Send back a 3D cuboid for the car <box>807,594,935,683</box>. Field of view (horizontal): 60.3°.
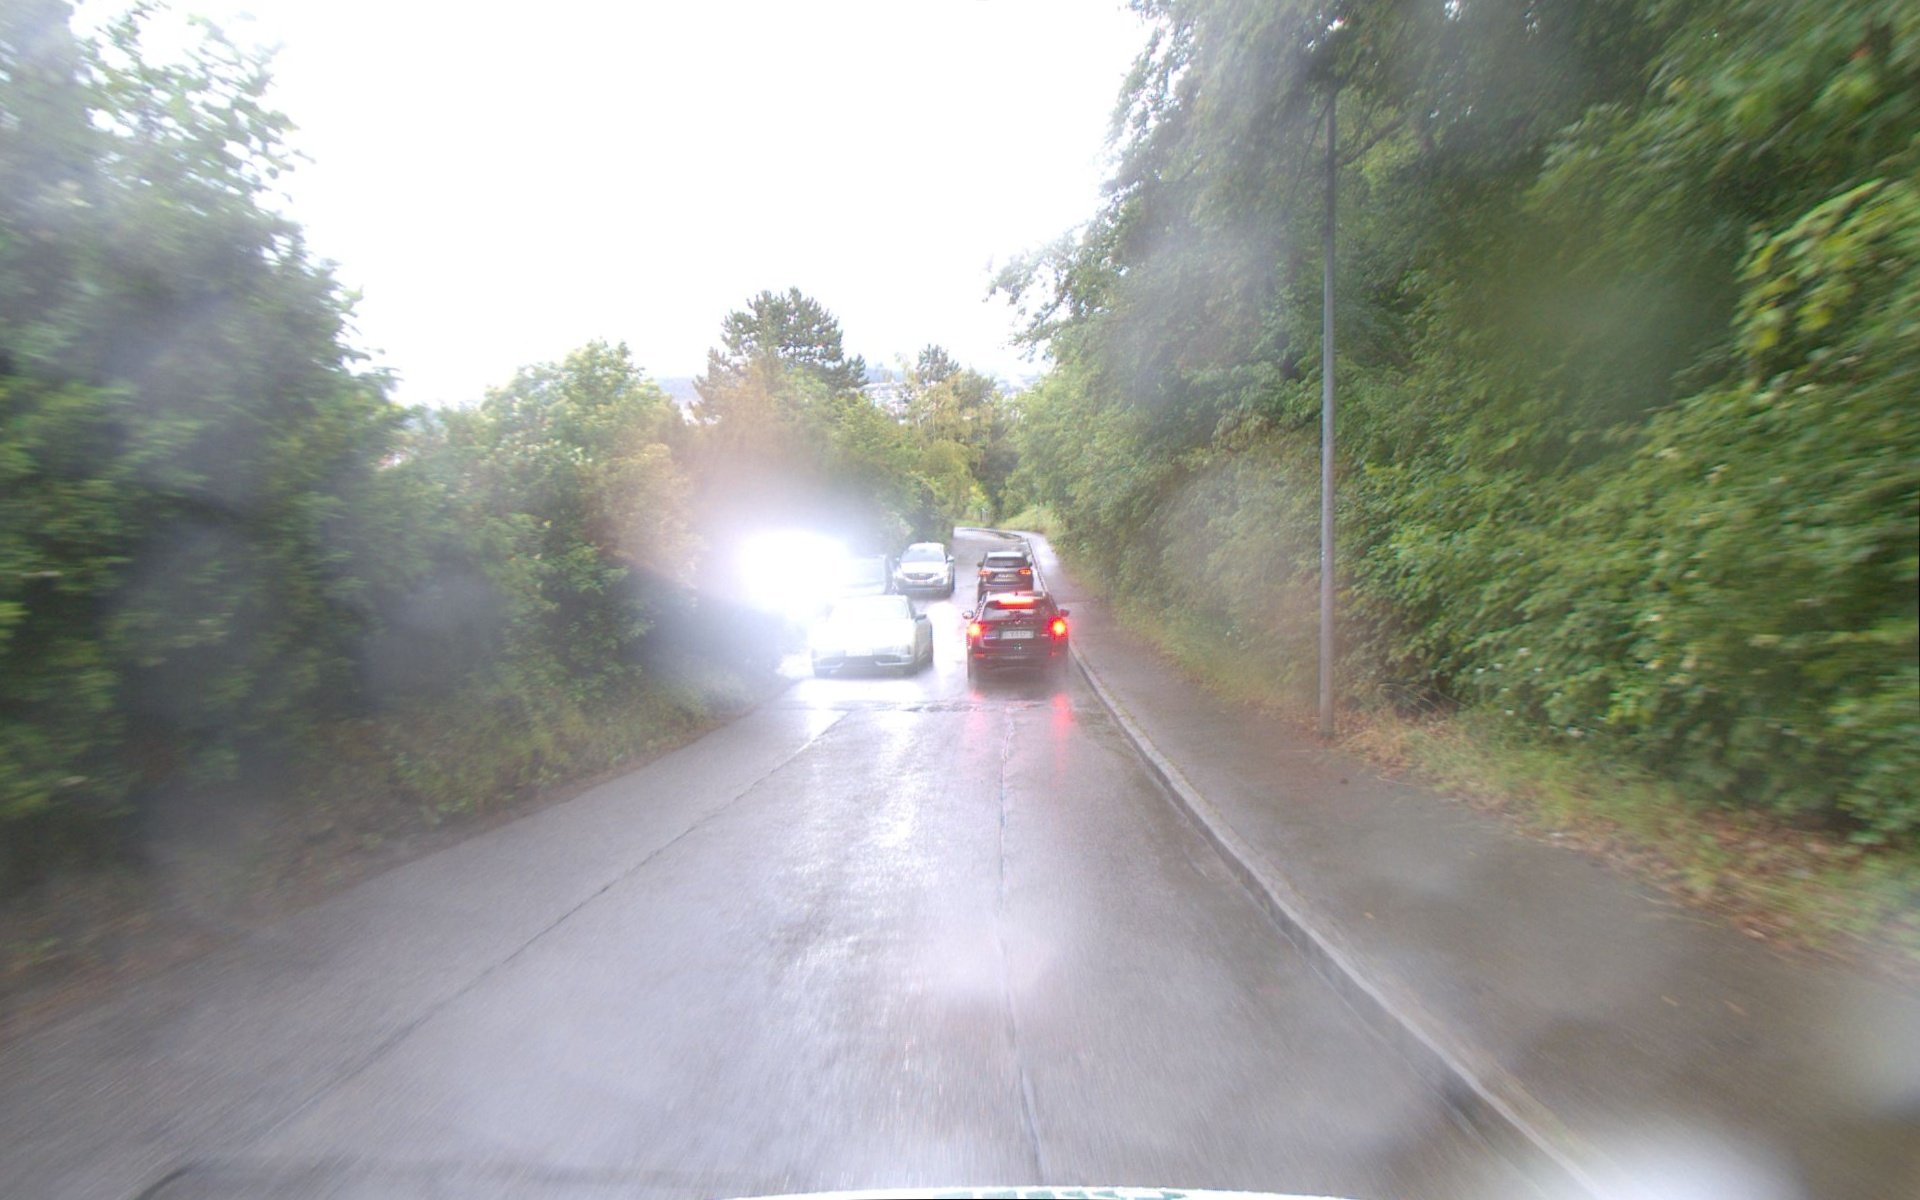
[{"bbox_3d":[-1.607,0.742,31.470,1.900,1.549,4.580,-1,-2,3],"label":"car"}]

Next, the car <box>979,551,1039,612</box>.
[{"bbox_3d":[1.519,-0.557,52.708,1.824,1.774,4.000,-1,-2,1],"label":"car"}]

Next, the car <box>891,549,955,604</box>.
[{"bbox_3d":[-1.205,-0.837,55.691,2.006,1.628,4.231,0,4,1],"label":"car"}]

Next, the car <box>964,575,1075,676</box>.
[{"bbox_3d":[0.980,0.395,29.042,1.665,1.475,4.000,-2,3,-2],"label":"car"}]

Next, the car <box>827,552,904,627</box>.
[{"bbox_3d":[-2.566,-0.329,45.694,1.654,1.813,4.235,-2,3,2],"label":"car"}]
